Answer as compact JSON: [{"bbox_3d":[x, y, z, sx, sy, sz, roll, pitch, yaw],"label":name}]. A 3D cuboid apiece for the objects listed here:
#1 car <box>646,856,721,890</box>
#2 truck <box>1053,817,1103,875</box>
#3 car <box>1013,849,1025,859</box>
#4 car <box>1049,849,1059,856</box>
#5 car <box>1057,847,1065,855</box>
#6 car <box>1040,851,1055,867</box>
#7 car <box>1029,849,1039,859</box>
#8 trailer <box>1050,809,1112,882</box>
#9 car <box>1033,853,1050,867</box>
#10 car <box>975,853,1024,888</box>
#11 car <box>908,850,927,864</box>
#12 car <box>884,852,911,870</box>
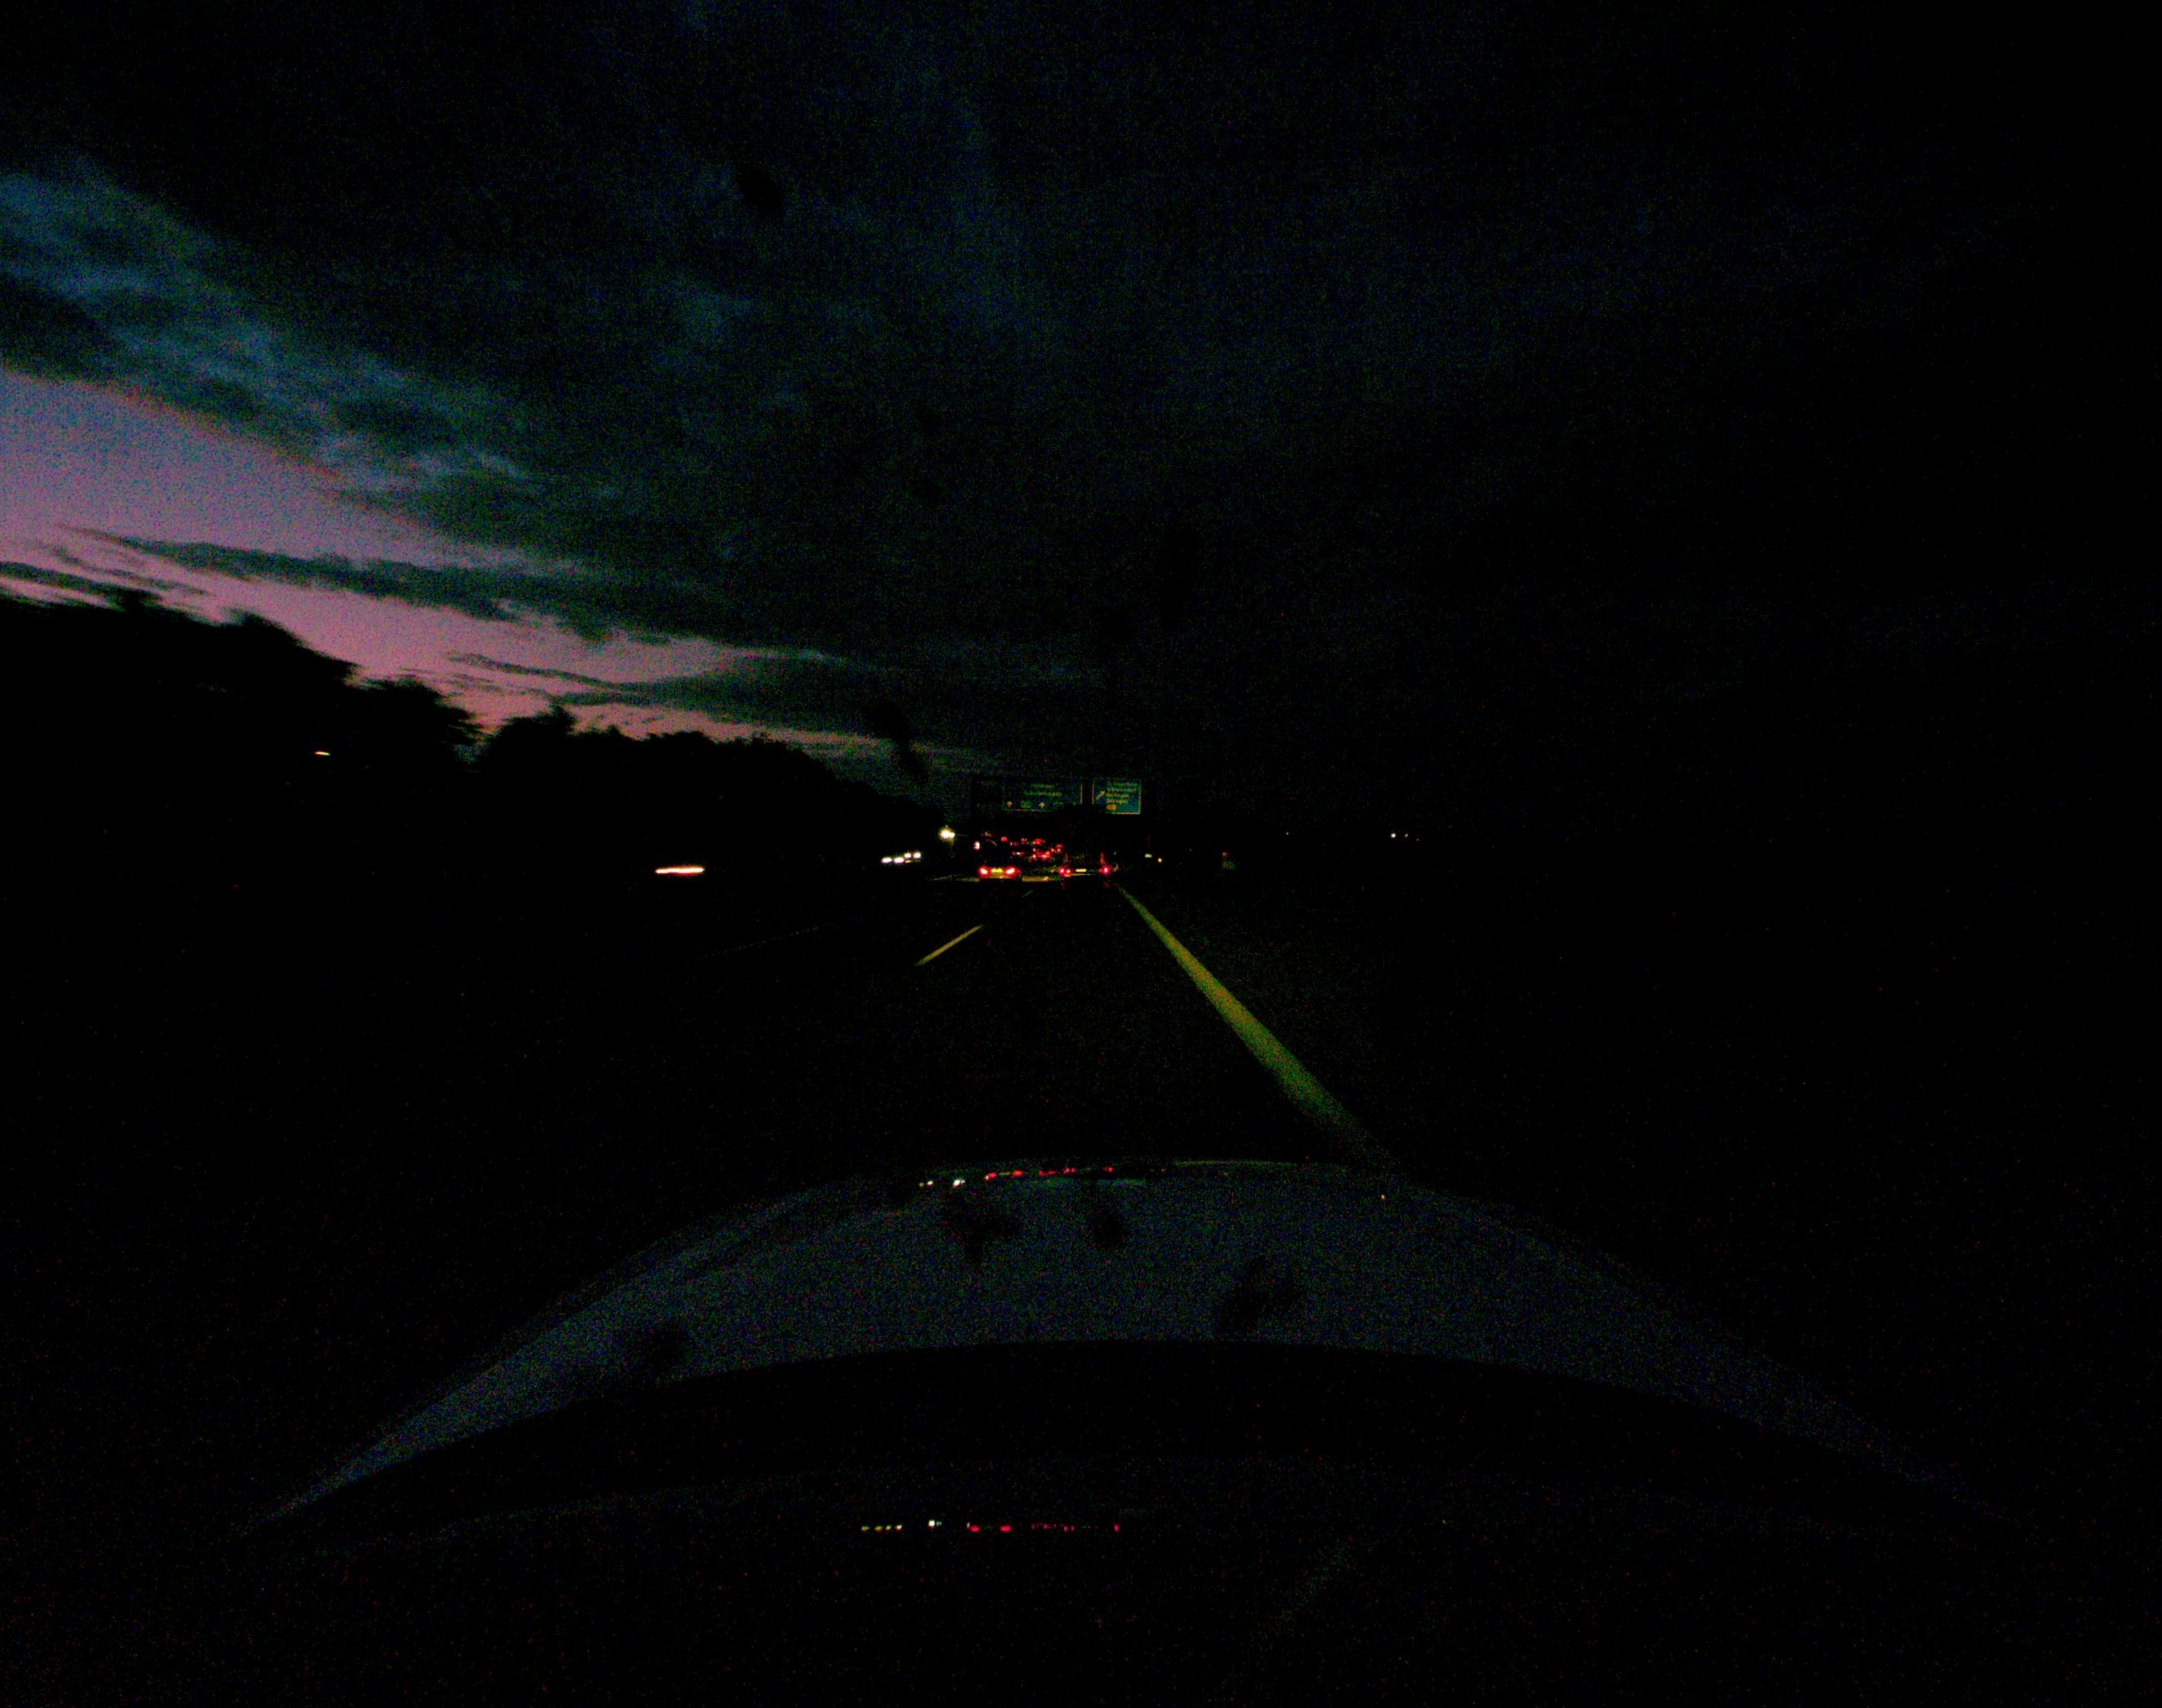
[{"bbox_3d":[-23.858,1.143,49.145,1.987,1.893,5.056,0,-1,0],"label":"car"},{"bbox_3d":[-0.295,-0.621,61.446,3.541,4.091,6.148,-1,0,-2],"label":"truck"},{"bbox_3d":[-10.331,0.011,135.633,1.756,1.575,4.574,0,-1,-1],"label":"car"},{"bbox_3d":[-5.704,-0.279,174.635,1.986,1.534,4.000,0,-1,1],"label":"car"},{"bbox_3d":[-5.327,-0.732,214.515,1.988,1.978,3.998,0,-1,-1],"label":"car"},{"bbox_3d":[-5.120,0.823,122.662,1.991,2.380,3.991,1,-1,-6],"label":"car"},{"bbox_3d":[-9.852,-0.085,170.580,1.987,2.014,3.998,0,-1,0],"label":"car"},{"bbox_3d":[-0.157,-0.557,54.418,3.540,4.116,15.055,-1,1,-1],"label":"trailer"},{"bbox_3d":[-5.062,0.781,103.825,2.059,1.686,4.573,1,-1,-2],"label":"car"},{"bbox_3d":[-4.035,0.821,40.940,1.900,1.614,4.803,0,-1,0],"label":"car"},{"bbox_3d":[-24.384,0.486,121.238,1.988,1.893,4.675,1,-1,-2],"label":"car"},{"bbox_3d":[-20.282,0.801,90.189,1.869,1.893,5.056,0,-1,0],"label":"car"}]
